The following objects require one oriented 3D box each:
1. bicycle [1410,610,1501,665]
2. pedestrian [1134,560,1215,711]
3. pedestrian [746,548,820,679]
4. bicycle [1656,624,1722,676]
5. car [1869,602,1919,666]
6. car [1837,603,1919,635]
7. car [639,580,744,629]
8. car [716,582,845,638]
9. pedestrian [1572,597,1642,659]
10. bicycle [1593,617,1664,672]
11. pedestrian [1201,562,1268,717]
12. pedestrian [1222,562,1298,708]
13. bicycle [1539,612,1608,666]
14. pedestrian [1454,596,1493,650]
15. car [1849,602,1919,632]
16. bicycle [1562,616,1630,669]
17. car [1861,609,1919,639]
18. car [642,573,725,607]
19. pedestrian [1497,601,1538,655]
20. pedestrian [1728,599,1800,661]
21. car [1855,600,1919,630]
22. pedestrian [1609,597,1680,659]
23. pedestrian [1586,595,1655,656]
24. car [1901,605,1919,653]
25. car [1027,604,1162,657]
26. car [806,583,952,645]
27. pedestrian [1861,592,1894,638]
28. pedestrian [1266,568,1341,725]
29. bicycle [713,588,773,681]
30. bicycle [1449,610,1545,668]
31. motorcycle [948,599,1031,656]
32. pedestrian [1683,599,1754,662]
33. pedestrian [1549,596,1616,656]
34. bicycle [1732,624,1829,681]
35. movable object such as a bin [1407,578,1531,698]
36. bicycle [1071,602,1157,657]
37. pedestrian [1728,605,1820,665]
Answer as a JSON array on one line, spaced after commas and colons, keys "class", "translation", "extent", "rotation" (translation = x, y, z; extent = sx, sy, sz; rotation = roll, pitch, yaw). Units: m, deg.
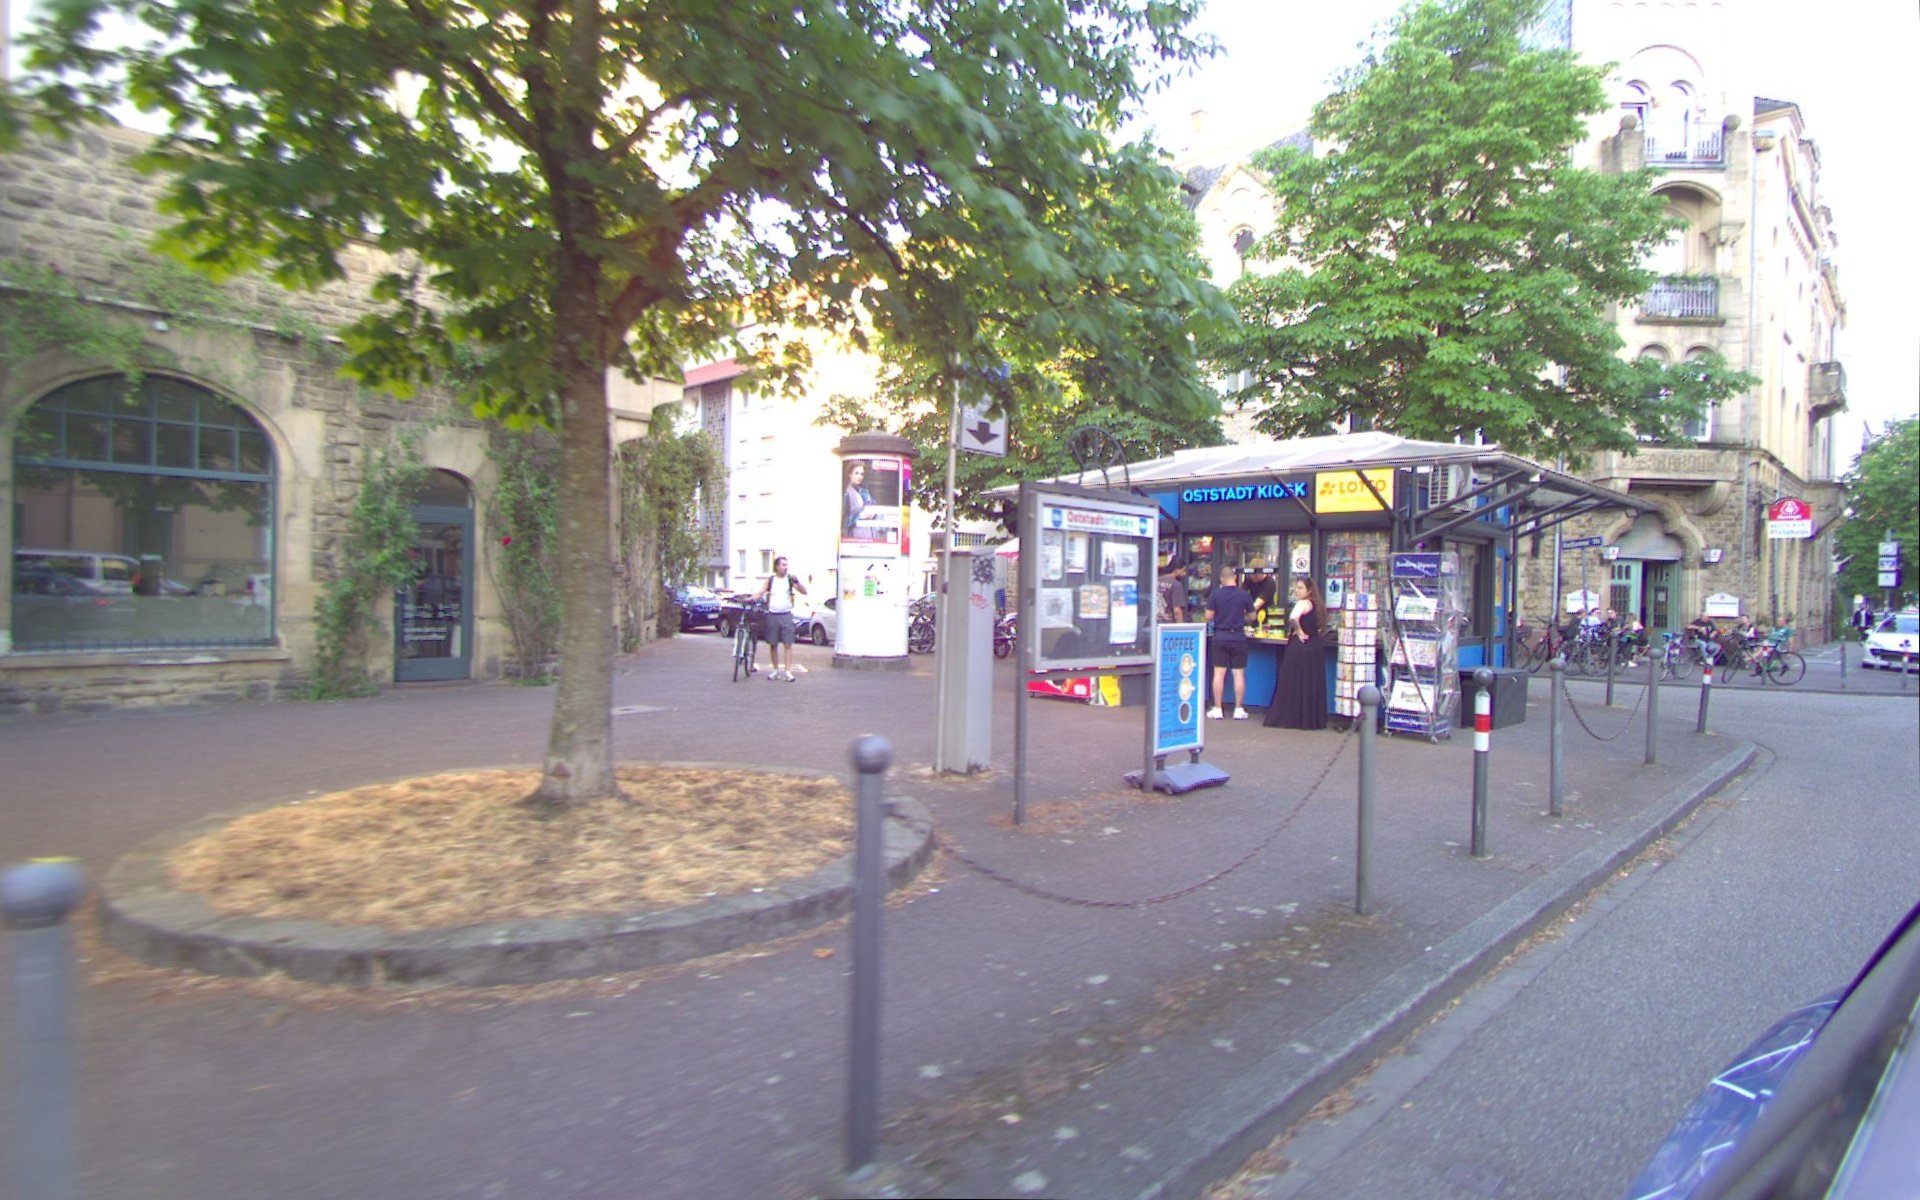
[{"class": "bicycle", "translation": [11.376, 0.843, 23.276], "extent": [1.821, 1.176, 0.532], "rotation": [1, 0, 33]}, {"class": "pedestrian", "translation": [2.456, 0.382, 11.581], "extent": [0.676, 1.658, 0.581], "rotation": [1, 1, 44]}, {"class": "pedestrian", "translation": [-2.544, 0.180, 14.653], "extent": [0.961, 1.811, 1.007], "rotation": [1, 1, -5]}, {"class": "bicycle", "translation": [14.608, 0.981, 20.272], "extent": [1.672, 0.992, 0.448], "rotation": [1, 0, -32]}, {"class": "car", "translation": [24.908, 0.887, 25.955], "extent": [4.384, 1.502, 1.768], "rotation": [1, 3, -41]}, {"class": "car", "translation": [46.565, 0.937, 50.394], "extent": [1.793, 1.470, 4.293], "rotation": [1, 1, -45]}, {"class": "car", "translation": [-8.907, 0.139, 33.402], "extent": [1.795, 1.502, 3.899], "rotation": [1, -1, -42]}, {"class": "car", "translation": [-5.299, 0.276, 29.616], "extent": [1.796, 1.502, 3.993], "rotation": [1, -1, -44]}, {"class": "pedestrian", "translation": [15.238, 0.643, 23.851], "extent": [1.082, 1.414, 0.842], "rotation": [0, 1, -3]}, {"class": "bicycle", "translation": [13.950, 0.911, 21.112], "extent": [1.798, 1.080, 0.514], "rotation": [1, 0, -32]}, {"class": "pedestrian", "translation": [3.029, 0.415, 11.190], "extent": [0.669, 1.658, 0.588], "rotation": [1, 0, 15]}, {"class": "pedestrian", "translation": [3.539, 0.393, 11.944], "extent": [0.675, 1.658, 0.583], "rotation": [1, 1, 38]}, {"class": "bicycle", "translation": [13.268, 0.827, 21.887], "extent": [1.798, 1.126, 0.503], "rotation": [1, 0, -32]}, {"class": "pedestrian", "translation": [13.241, 0.587, 26.109], "extent": [0.729, 1.337, 0.657], "rotation": [1, 0, 42]}, {"class": "car", "translation": [50.937, 0.932, 54.646], "extent": [1.793, 1.548, 4.293], "rotation": [1, 1, -45]}, {"class": "bicycle", "translation": [13.437, 0.882, 21.368], "extent": [1.798, 1.084, 0.476], "rotation": [1, 0, -32]}, {"class": "car", "translation": [52.844, 1.352, 56.055], "extent": [1.793, 1.548, 4.293], "rotation": [1, 1, -45]}, {"class": "car", "translation": [-12.711, -0.429, 46.493], "extent": [3.889, 1.502, 1.800], "rotation": [0, -1, 40]}, {"class": "pedestrian", "translation": [13.876, 0.678, 25.188], "extent": [0.703, 1.299, 0.865], "rotation": [1, 0, 41]}, {"class": "pedestrian", "translation": [19.402, 0.722, 24.430], "extent": [1.080, 1.414, 0.843], "rotation": [2, 1, -19]}, {"class": "car", "translation": [56.164, 0.889, 60.186], "extent": [1.793, 1.697, 4.293], "rotation": [1, 1, -45]}, {"class": "pedestrian", "translation": [16.155, 0.640, 23.905], "extent": [1.082, 1.414, 0.842], "rotation": [0, 1, -4]}, {"class": "pedestrian", "translation": [16.074, 0.608, 24.644], "extent": [1.082, 1.414, 0.842], "rotation": [0, 1, -4]}, {"class": "car", "translation": [32.429, 0.986, 33.484], "extent": [1.764, 1.503, 4.484], "rotation": [4, 2, 44]}, {"class": "car", "translation": [4.076, 0.876, 31.009], "extent": [1.795, 1.502, 3.900], "rotation": [1, 0, -41]}, {"class": "car", "translation": [-2.186, 0.353, 26.665], "extent": [1.796, 1.502, 3.896], "rotation": [1, -1, -44]}, {"class": "pedestrian", "translation": [36.896, 0.591, 40.693], "extent": [0.819, 1.788, 0.851], "rotation": [1, 1, -41]}, {"class": "pedestrian", "translation": [3.544, 0.457, 10.478], "extent": [0.669, 1.558, 0.588], "rotation": [1, 0, 15]}, {"class": "bicycle", "translation": [-3.107, 0.453, 14.624], "extent": [0.623, 1.202, 1.917], "rotation": [1, 2, -6]}, {"class": "bicycle", "translation": [11.827, 0.838, 22.295], "extent": [1.821, 1.166, 0.551], "rotation": [1, 0, 32]}, {"class": "motorcycle", "translation": [0.575, 0.529, 20.631], "extent": [0.569, 1.067, 1.829], "rotation": [0, 1, -43]}, {"class": "pedestrian", "translation": [18.254, 0.715, 24.382], "extent": [0.880, 1.414, 1.011], "rotation": [3, 0, 3]}, {"class": "pedestrian", "translation": [15.101, 0.623, 24.575], "extent": [1.082, 1.414, 0.842], "rotation": [0, 1, -3]}, {"class": "bicycle", "translation": [15.972, 1.015, 19.716], "extent": [1.449, 1.052, 0.432], "rotation": [1, 1, 5]}, {"class": "movable object such as a bin", "translation": [6.918, 0.490, 13.799], "extent": [0.751, 1.493, 1.227], "rotation": [1, 3, -35]}, {"class": "bicycle", "translation": [3.096, 0.577, 20.478], "extent": [0.569, 1.008, 1.735], "rotation": [0, 1, -43]}, {"class": "pedestrian", "translation": [19.065, 0.803, 23.718], "extent": [1.393, 1.301, 0.841], "rotation": [2, 2, 3]}]
